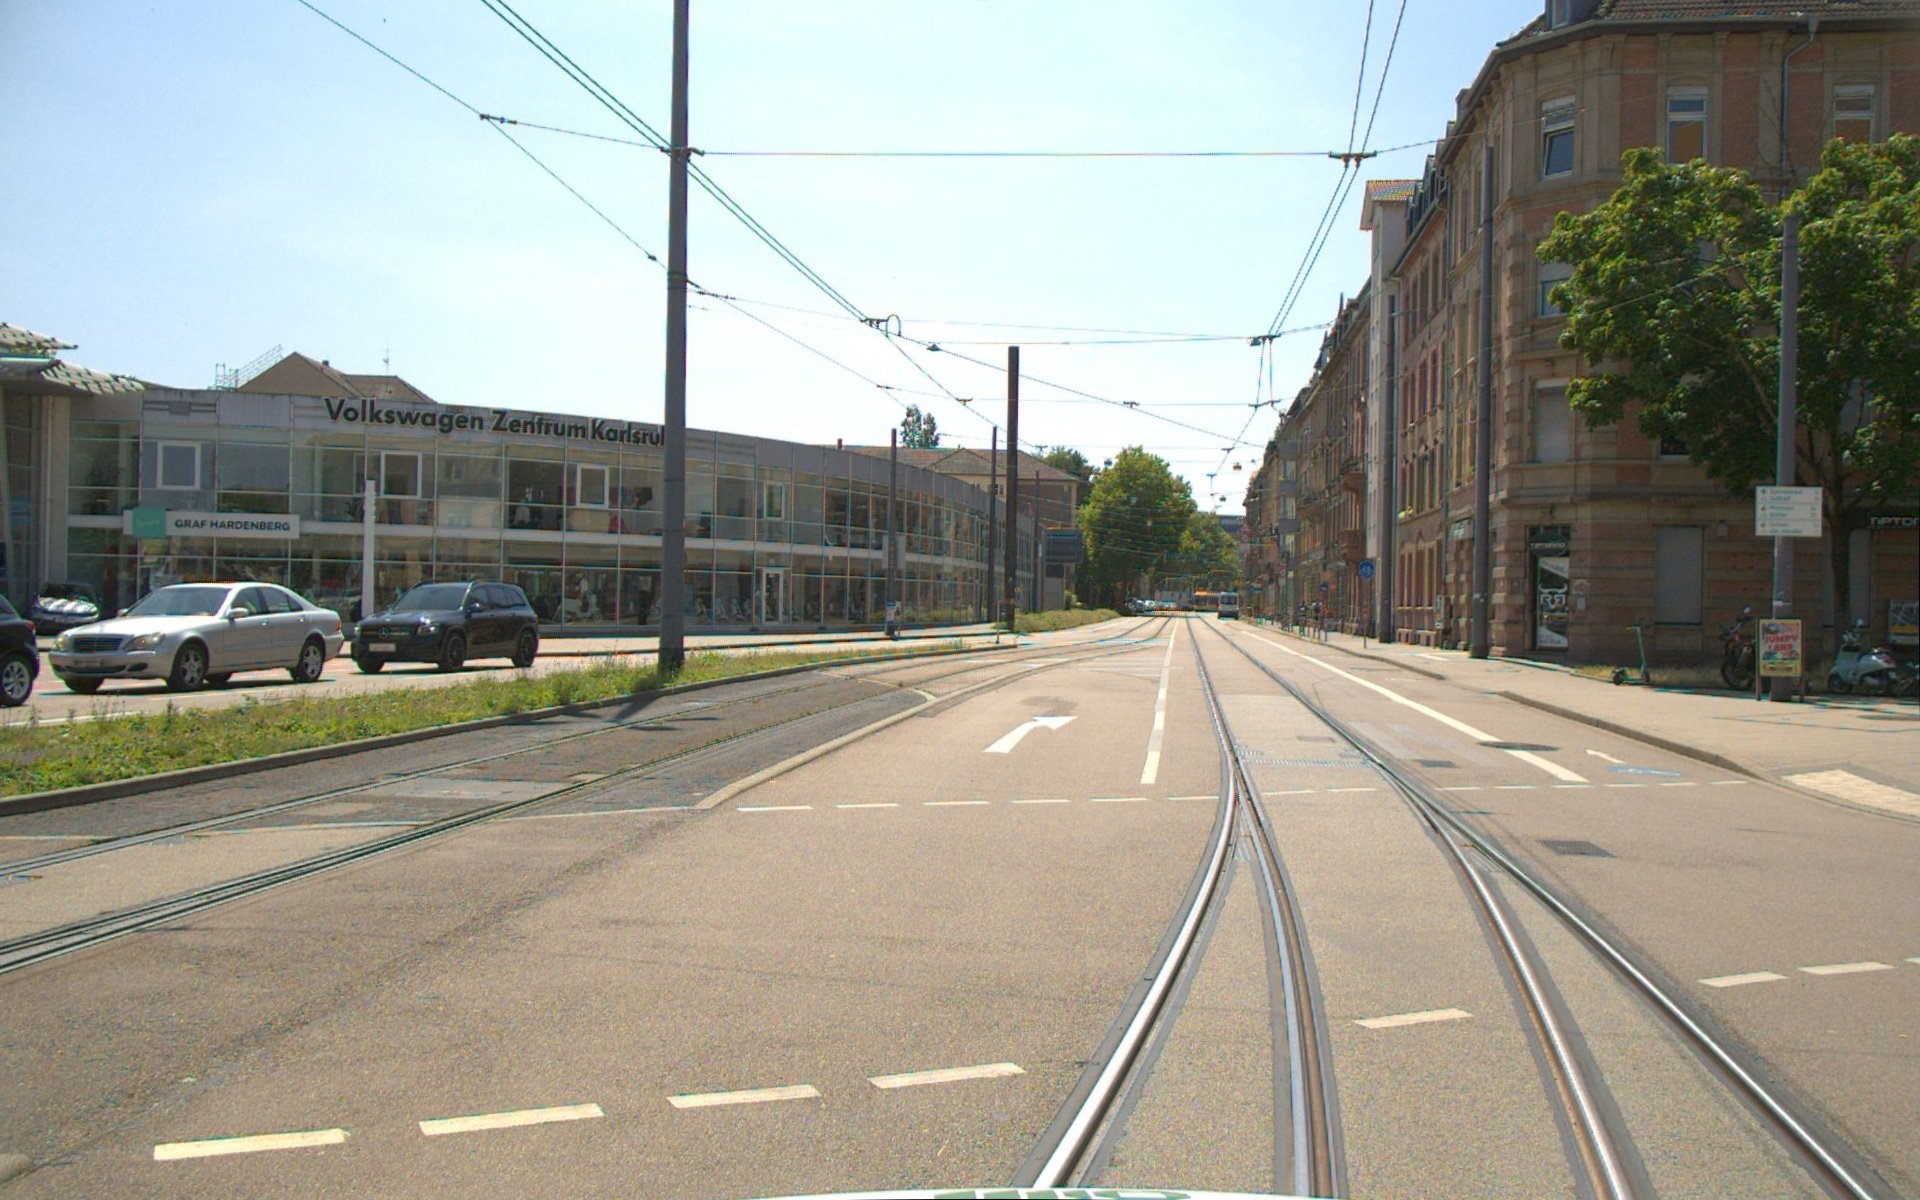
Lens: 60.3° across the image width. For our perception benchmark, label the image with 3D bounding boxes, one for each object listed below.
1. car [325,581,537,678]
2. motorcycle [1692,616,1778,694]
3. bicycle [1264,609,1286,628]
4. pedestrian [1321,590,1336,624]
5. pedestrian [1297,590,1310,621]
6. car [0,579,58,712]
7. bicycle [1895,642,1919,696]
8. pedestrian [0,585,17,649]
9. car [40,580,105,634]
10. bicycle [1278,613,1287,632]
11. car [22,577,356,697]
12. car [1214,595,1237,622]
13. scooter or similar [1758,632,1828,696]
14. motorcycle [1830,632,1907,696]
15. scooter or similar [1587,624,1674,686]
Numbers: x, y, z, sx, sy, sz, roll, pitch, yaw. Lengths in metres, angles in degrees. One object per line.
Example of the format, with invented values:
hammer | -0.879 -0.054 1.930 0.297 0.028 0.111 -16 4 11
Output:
car | -9.640 0.515 30.567 1.783 1.655 4.529 0 0 11
motorcycle | 14.637 1.010 31.325 0.747 1.386 2.598 1 0 9
bicycle | 20.168 1.186 105.923 0.490 1.150 2.234 0 0 36
pedestrian | 20.736 0.388 93.134 0.687 1.881 0.644 -3 -1 9
pedestrian | 19.430 0.312 93.560 0.705 1.750 0.644 1 0 9
car | -11.720 0.508 17.695 1.635 1.487 3.907 0 0 8
bicycle | 18.302 1.318 31.023 0.631 0.982 2.084 1 0 9
pedestrian | -25.609 0.438 43.809 0.712 1.671 0.821 1 0 11
car | -25.425 0.182 47.445 1.479 1.482 4.021 1 0 -27
bicycle | 19.223 1.330 98.711 0.438 1.116 2.424 0 0 13
car | -11.076 0.515 24.272 1.951 1.557 5.135 -1 -1 8
car | 25.706 0.834 160.165 2.023 2.544 5.458 2 0 9
scooter or similar | 15.761 1.189 31.318 0.588 1.172 1.379 1 -1 -2
motorcycle | 16.858 1.168 30.717 0.676 1.115 1.749 1 -1 9
scooter or similar | 13.175 1.083 32.498 1.498 1.175 0.711 1 0 -21
